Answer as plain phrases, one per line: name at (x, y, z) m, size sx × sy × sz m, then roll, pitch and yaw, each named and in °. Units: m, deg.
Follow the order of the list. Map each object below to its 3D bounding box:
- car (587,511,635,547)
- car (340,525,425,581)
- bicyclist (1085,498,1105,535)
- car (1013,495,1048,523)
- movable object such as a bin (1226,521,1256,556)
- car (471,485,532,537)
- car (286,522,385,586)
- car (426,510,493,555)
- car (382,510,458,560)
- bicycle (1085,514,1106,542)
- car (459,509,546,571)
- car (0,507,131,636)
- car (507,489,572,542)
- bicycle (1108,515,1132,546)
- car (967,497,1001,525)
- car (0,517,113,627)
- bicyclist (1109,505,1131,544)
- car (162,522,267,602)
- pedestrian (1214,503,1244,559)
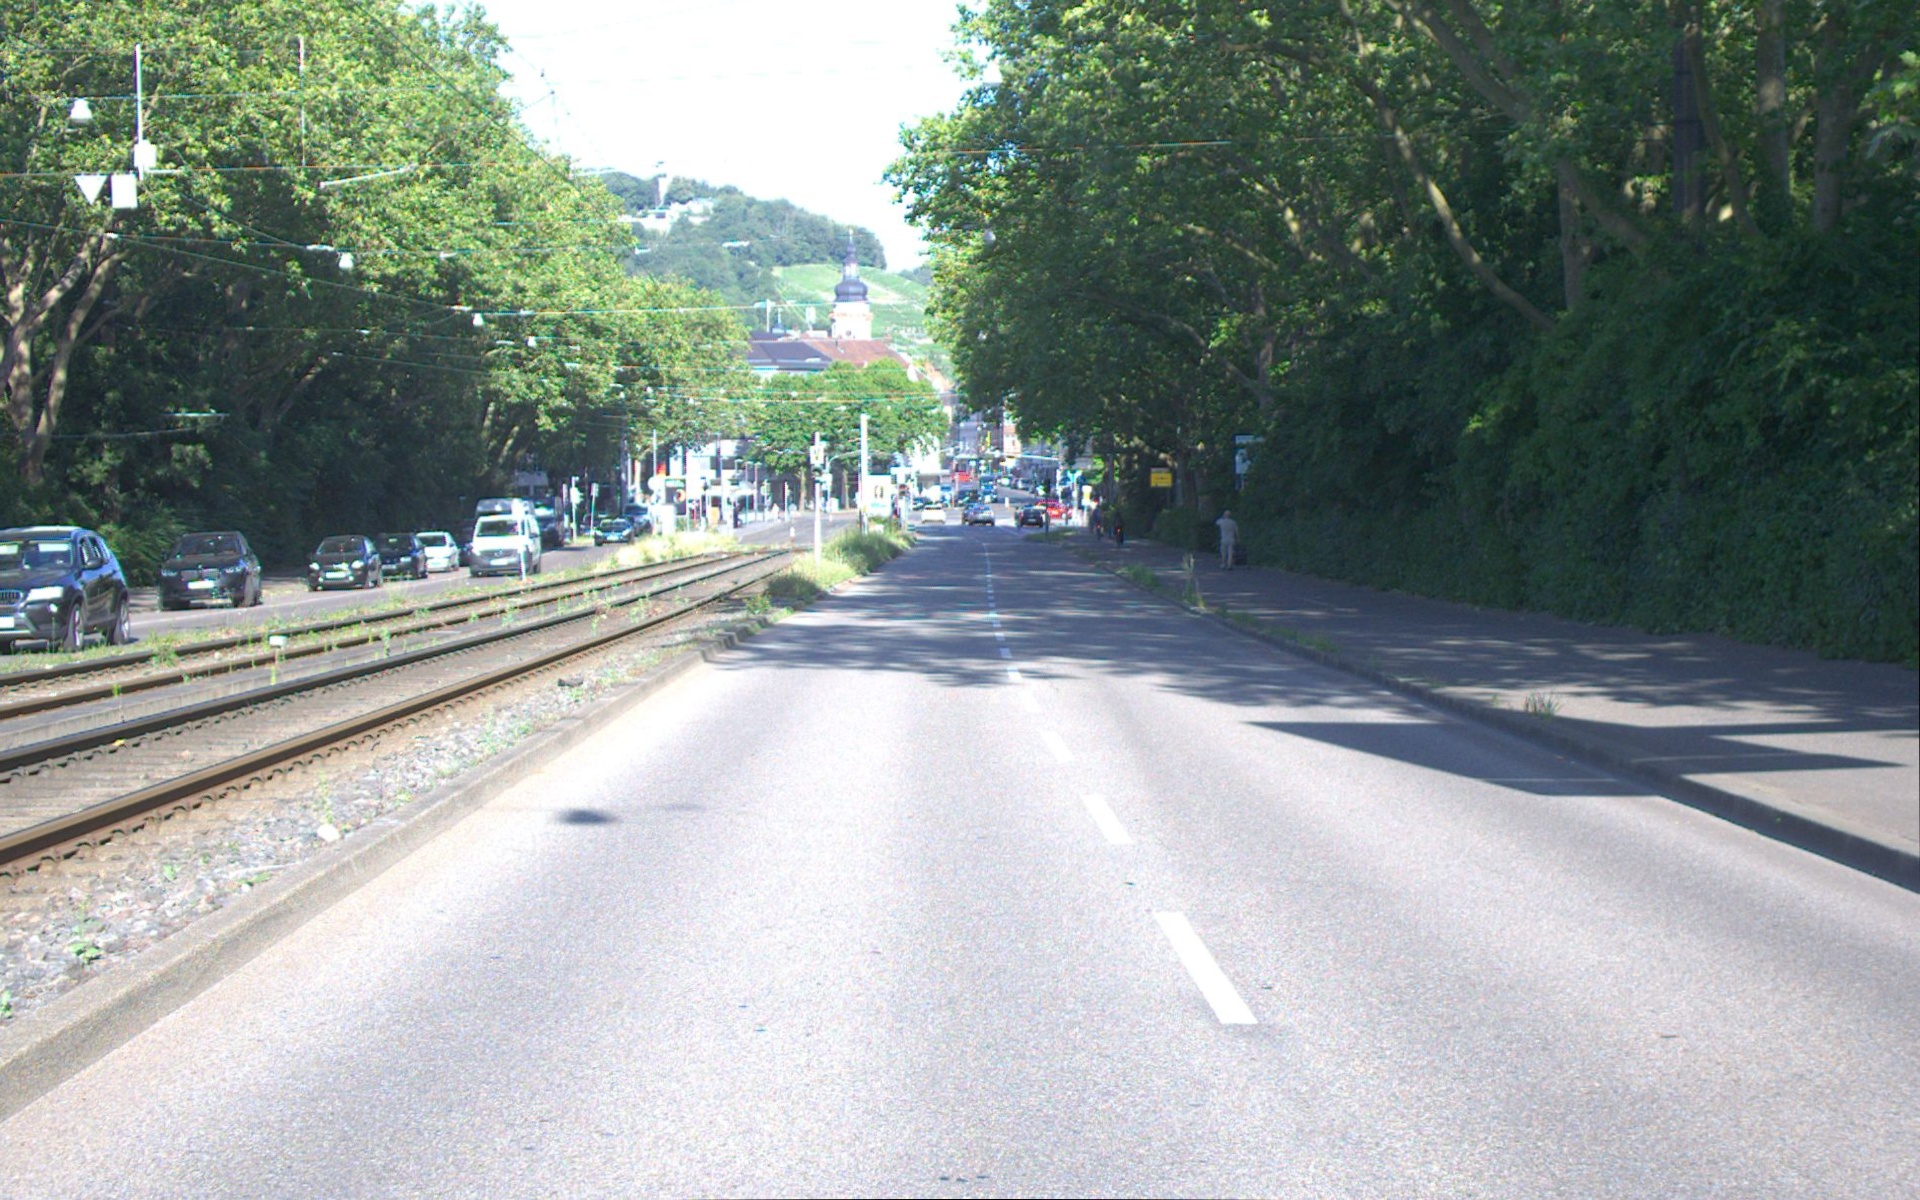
car at (-17.127, -3.509, 169.040) m, size 1.993 × 1.691 × 4.745 m, roll -1°, pitch 1°, yaw -2°
car at (-18.139, -1.492, 108.191) m, size 1.993 × 1.691 × 4.745 m, roll -1°, pitch 1°, yaw -2°
bicyclist at (6.497, -4.001, 165.249) m, size 0.887 × 1.768 × 1.222 m, roll -1°, pitch 1°, yaw 0°
car at (5.089, -6.589, 249.916) m, size 2.394 × 1.992 × 5.306 m, roll -1°, pitch 1°, yaw 0°
movable object such as a bin at (7.723, -1.681, 94.440) m, size 0.804 × 0.944 × 0.656 m, roll -1°, pitch 1°, yaw 4°
car at (-19.556, -3.787, 146.831) m, size 1.993 × 2.156 × 5.815 m, roll -1°, pitch 1°, yaw -2°
car at (-17.251, -1.288, 95.218) m, size 1.993 × 1.691 × 4.745 m, roll -1°, pitch 1°, yaw -2°
car at (-19.096, -2.587, 131.365) m, size 1.993 × 1.691 × 4.745 m, roll -1°, pitch 1°, yaw -2°
car at (-18.781, -2.277, 119.725) m, size 1.993 × 1.691 × 4.745 m, roll -1°, pitch 1°, yaw -2°
bicycle at (6.523, -3.482, 165.560) m, size 0.887 × 1.316 × 2.640 m, roll -1°, pitch 1°, yaw 0°
car at (-14.250, -1.895, 107.304) m, size 1.993 × 1.838 × 5.302 m, roll -2°, pitch 1°, yaw 0°
car at (-12.635, -0.412, 46.802) m, size 1.741 × 1.618 × 4.395 m, roll -2°, pitch 2°, yaw -2°
car at (-20.581, -4.144, 168.484) m, size 2.394 × 2.515 × 5.900 m, roll -1°, pitch 1°, yaw 0°
bicycle at (6.824, -2.964, 146.735) m, size 0.887 × 1.316 × 2.640 m, roll -1°, pitch 1°, yaw 0°
car at (1.771, -6.585, 254.801) m, size 2.394 × 1.992 × 5.306 m, roll -1°, pitch 1°, yaw 0°
car at (-16.214, -0.506, 60.225) m, size 1.741 × 1.737 × 4.515 m, roll -4°, pitch 2°, yaw -3°
bicyclist at (6.824, -3.236, 146.827) m, size 0.887 × 1.633 × 1.164 m, roll -1°, pitch 1°, yaw 0°
car at (-16.316, -0.857, 75.419) m, size 1.741 × 1.631 × 4.001 m, roll -1°, pitch 2°, yaw -5°
pedestrian at (7.442, -1.907, 95.222) m, size 0.804 × 1.540 × 0.814 m, roll -1°, pitch 1°, yaw 4°
